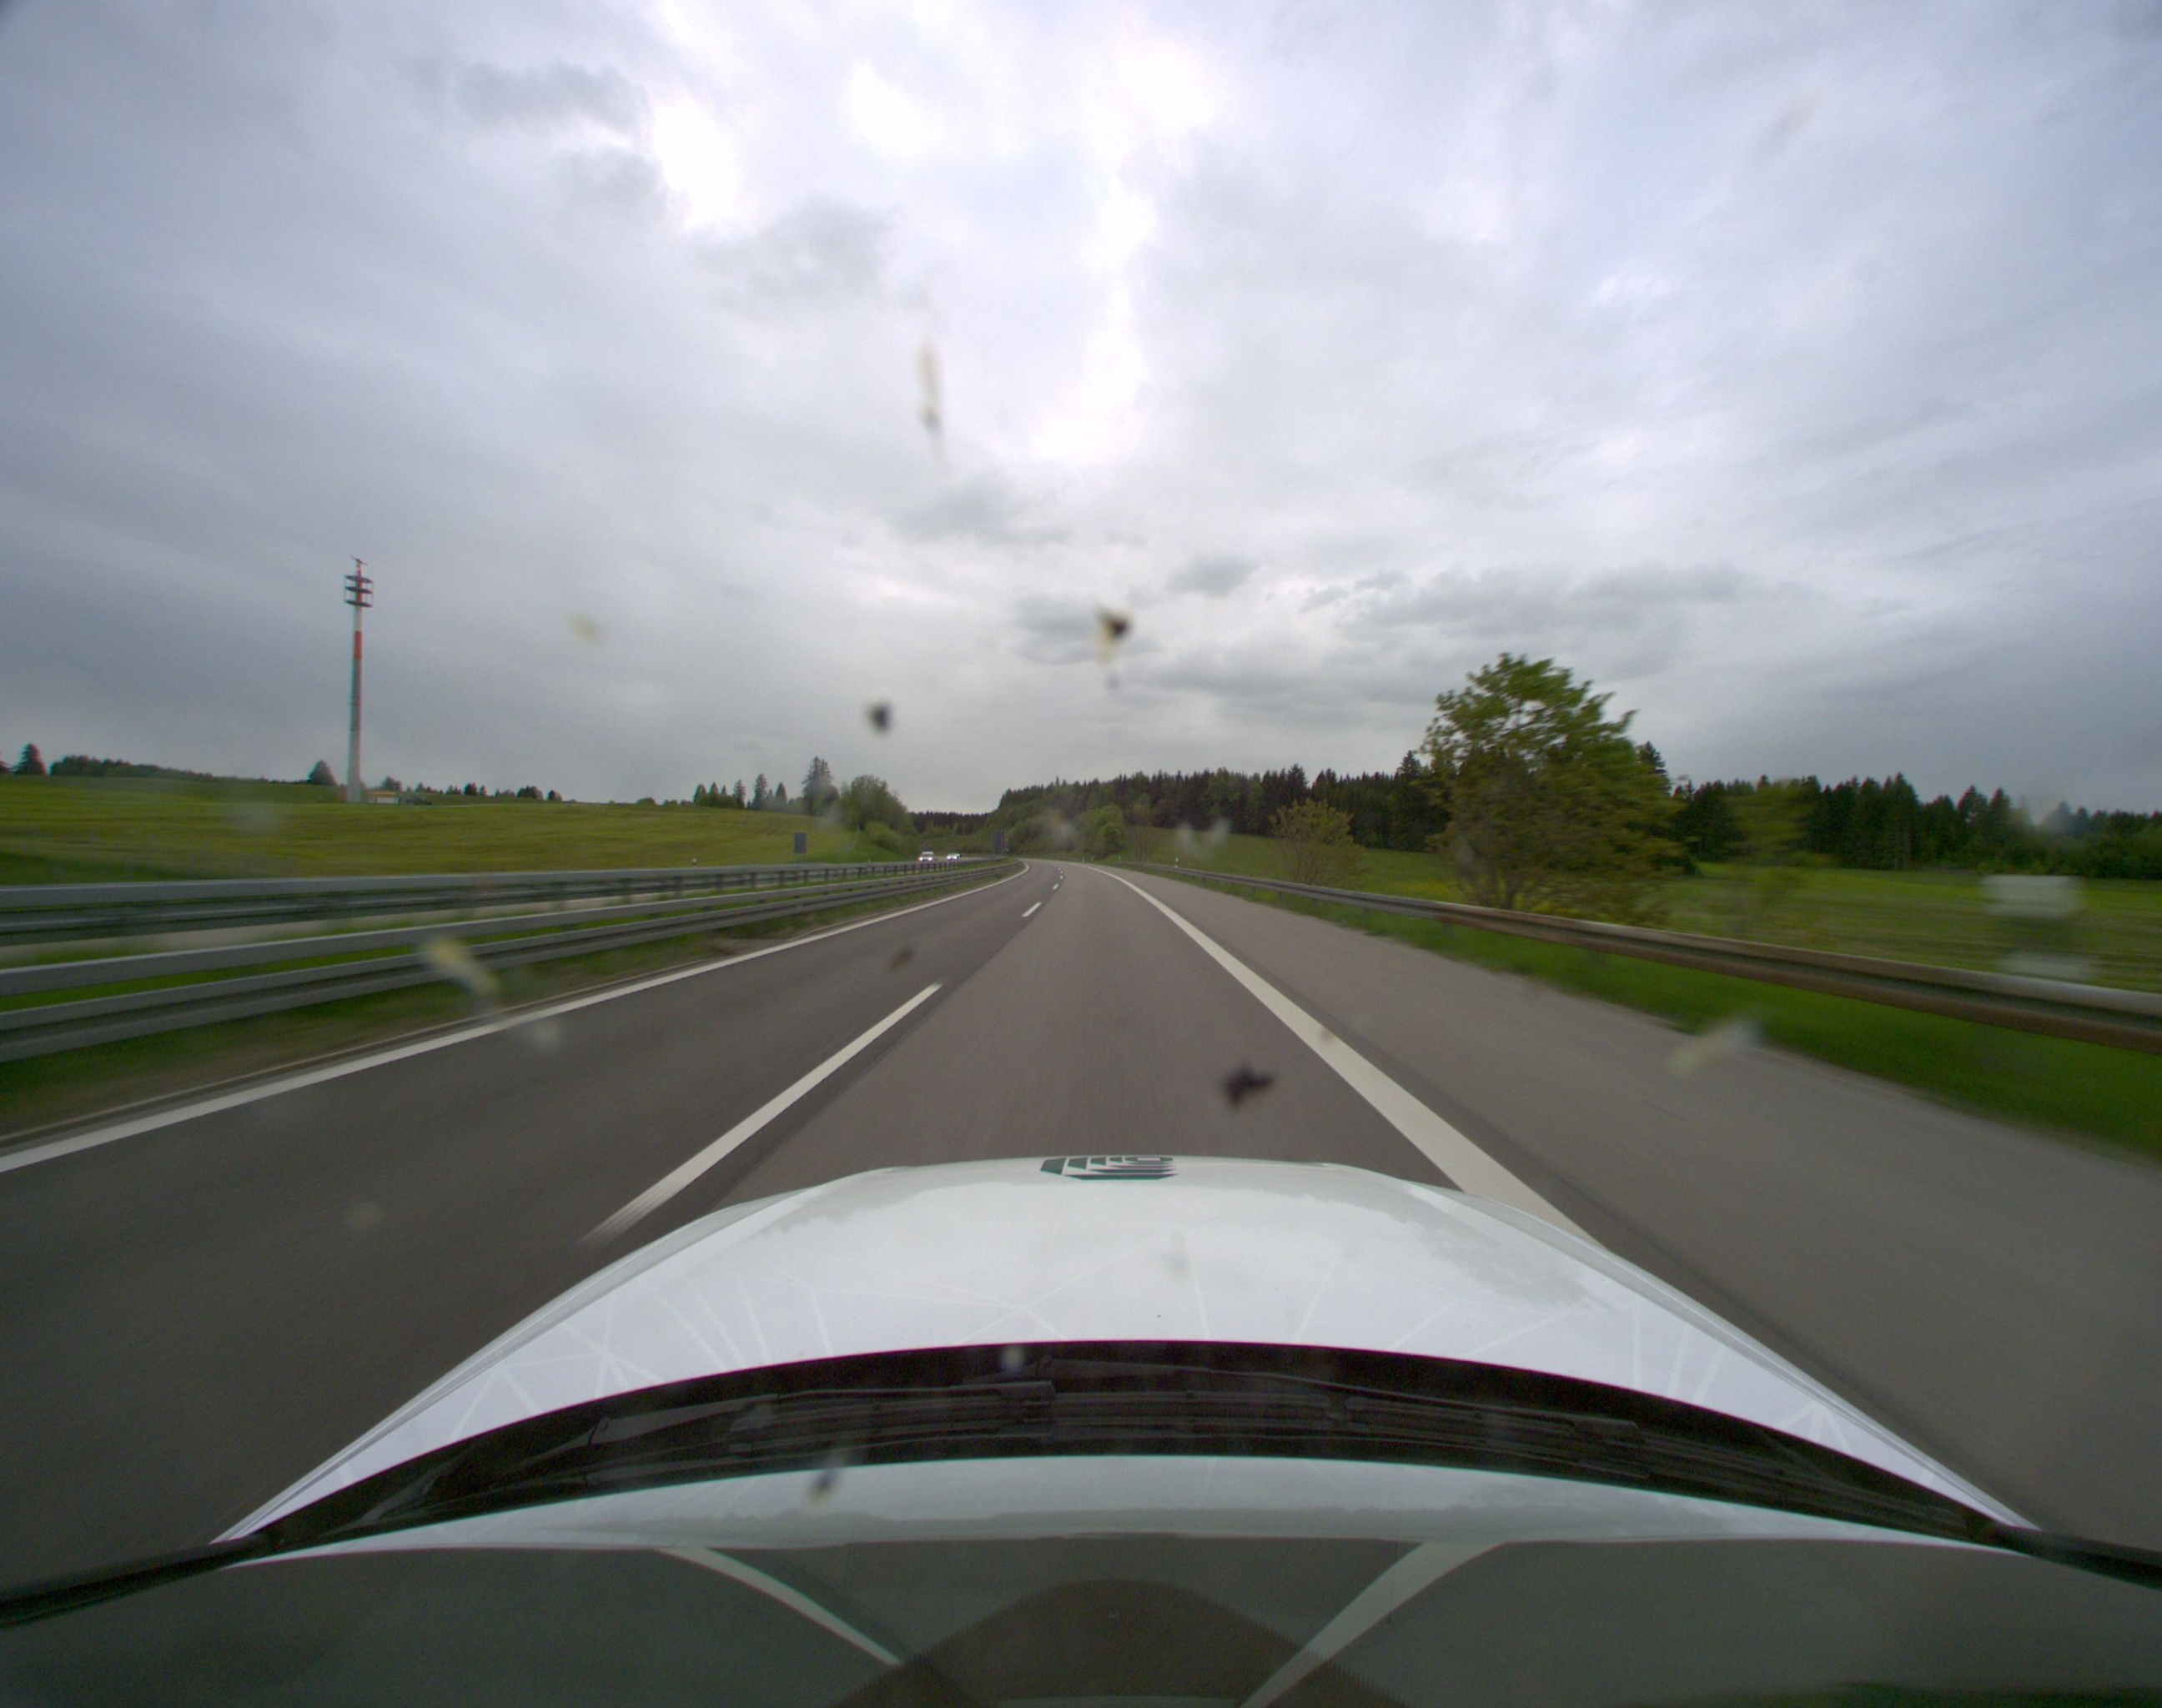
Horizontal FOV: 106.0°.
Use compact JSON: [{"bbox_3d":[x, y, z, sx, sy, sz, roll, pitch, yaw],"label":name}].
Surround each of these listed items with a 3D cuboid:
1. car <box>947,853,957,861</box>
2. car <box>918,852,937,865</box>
[{"bbox_3d":[-27.997,0.622,176.940,2.034,1.690,5.040,2,0,-9],"label":"car"},{"bbox_3d":[-21.377,0.614,113.675,1.989,1.686,4.621,2,0,-4],"label":"car"}]
